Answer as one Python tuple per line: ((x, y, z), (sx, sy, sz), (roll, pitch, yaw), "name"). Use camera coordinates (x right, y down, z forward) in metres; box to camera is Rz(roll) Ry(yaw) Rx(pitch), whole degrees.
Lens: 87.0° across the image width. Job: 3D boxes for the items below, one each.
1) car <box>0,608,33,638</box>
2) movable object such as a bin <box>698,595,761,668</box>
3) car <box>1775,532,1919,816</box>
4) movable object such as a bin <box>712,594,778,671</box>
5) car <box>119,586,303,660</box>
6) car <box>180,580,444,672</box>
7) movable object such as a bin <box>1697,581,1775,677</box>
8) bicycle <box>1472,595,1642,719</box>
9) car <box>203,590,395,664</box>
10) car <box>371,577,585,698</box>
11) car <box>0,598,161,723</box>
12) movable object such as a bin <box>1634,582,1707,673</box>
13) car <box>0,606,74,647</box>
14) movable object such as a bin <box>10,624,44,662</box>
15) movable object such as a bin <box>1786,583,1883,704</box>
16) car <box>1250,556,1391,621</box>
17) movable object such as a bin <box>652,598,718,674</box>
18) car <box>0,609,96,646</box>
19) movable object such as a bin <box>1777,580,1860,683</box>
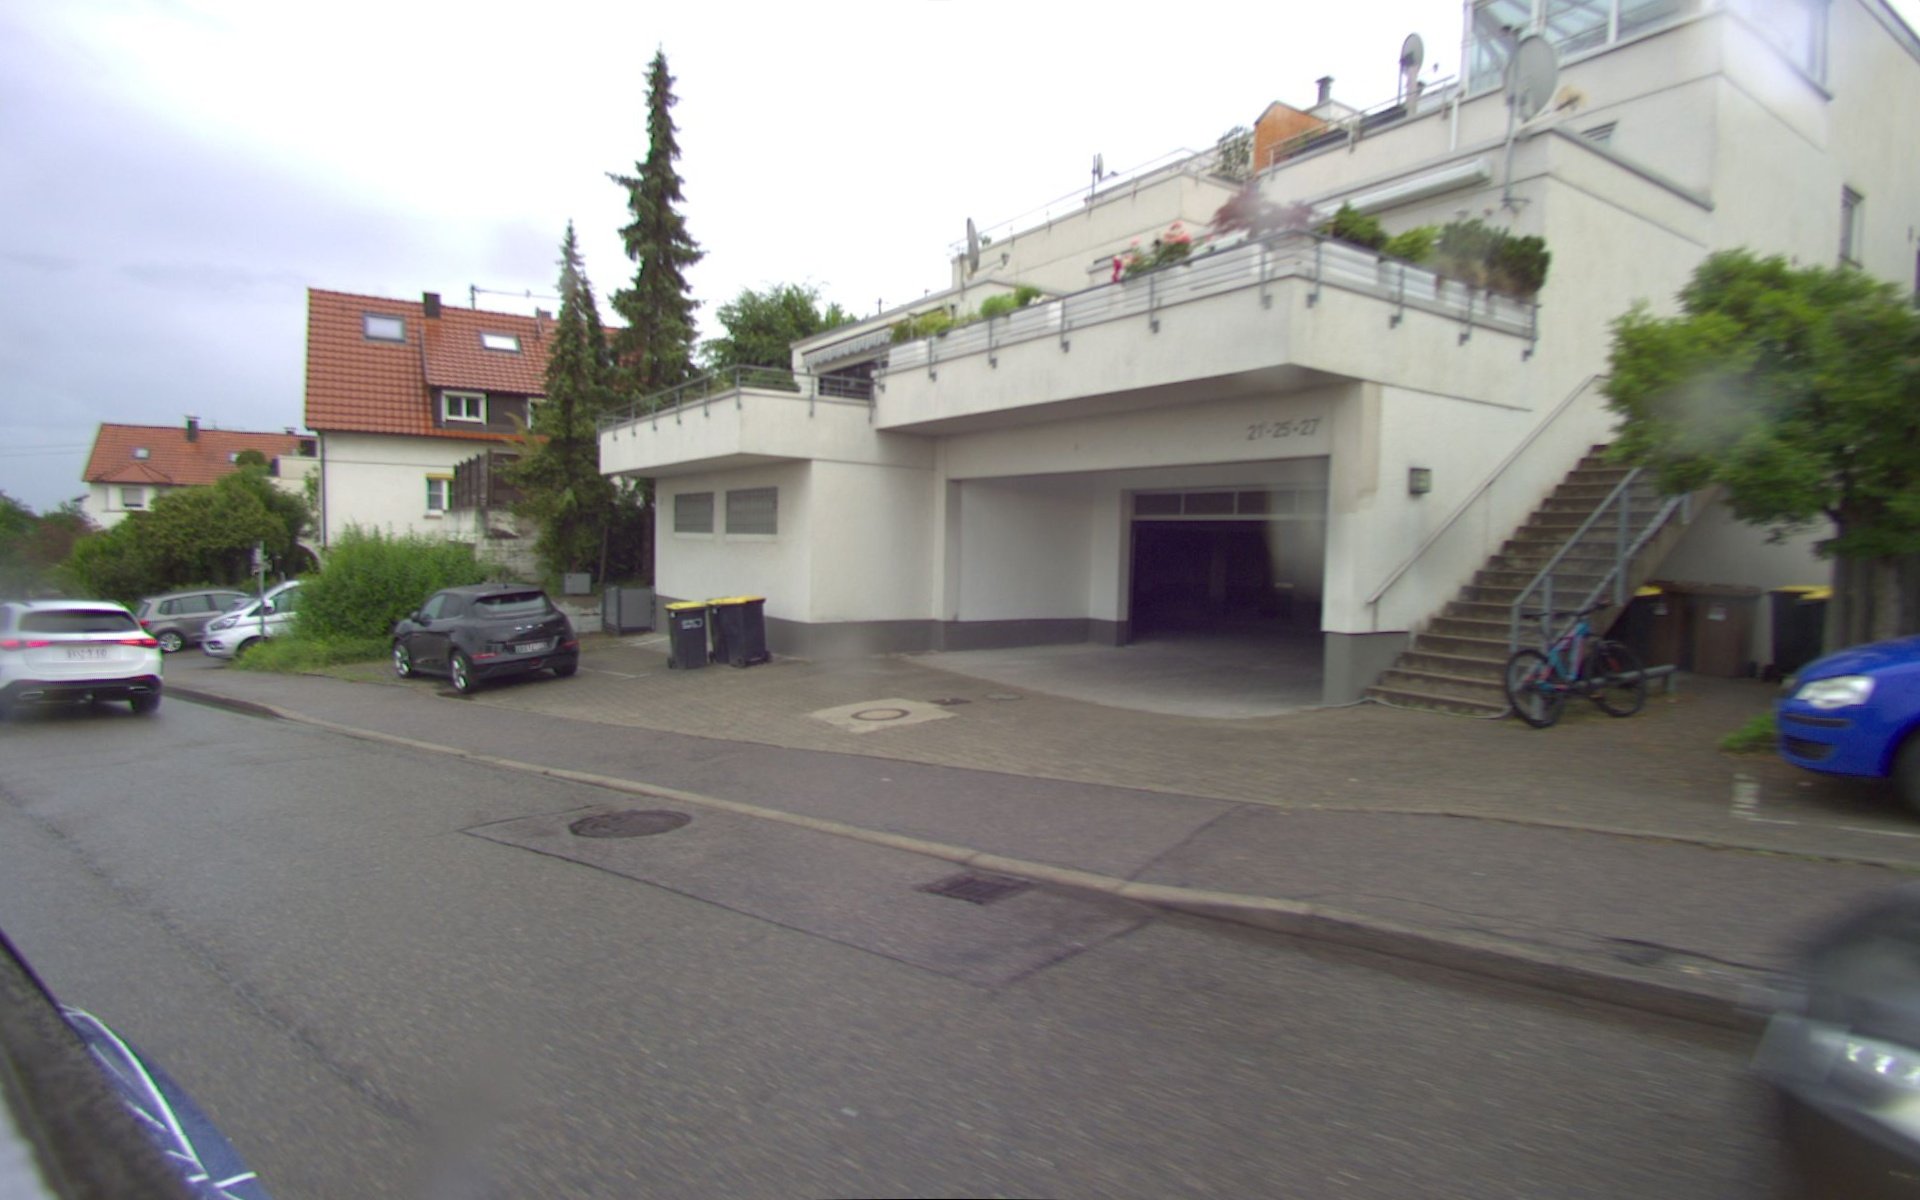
((-48.861, 1.195, 51.972), (1.745, 1.386, 4.252), (-5, 3, -42), "car")
((-3.718, 0.491, 16.322), (0.715, 1.078, 0.769), (-6, 5, -31), "movable object such as a bin")
((6.579, 0.324, 4.987), (3.955, 1.444, 1.592), (-1, 3, 40), "car")
((-3.333, 0.488, 15.644), (0.715, 1.078, 0.769), (-6, 5, -31), "movable object such as a bin")
((-21.295, 0.597, 28.934), (4.002, 1.704, 1.898), (-5, 4, -36), "car")
((-15.038, 0.562, 23.760), (5.015, 1.959, 2.147), (0, 0, -33), "car")
((8.903, 0.316, 11.613), (0.539, 1.049, 0.563), (-3, 2, -36), "movable object such as a bin")
((5.514, 0.494, 9.336), (1.542, 1.014, 0.480), (-3, 2, -21), "bicycle")
((-17.043, 0.622, 26.262), (4.000, 1.650, 1.899), (-2, 2, -33), "car")
((-8.067, 0.557, 16.751), (4.198, 1.599, 1.671), (-1, 6, 44), "car")
((-13.312, 0.797, 14.770), (4.381, 1.579, 1.780), (-1, -1, 41), "car")
((8.575, 0.319, 12.213), (0.539, 1.049, 0.563), (-3, 2, -36), "movable object such as a bin")
((-38.641, 1.069, 42.326), (4.415, 1.609, 1.784), (0, 0, 41), "car")
((-27.564, 1.253, 29.891), (0.697, 1.072, 0.597), (-1, 1, 36), "movable object such as a bin")
((8.059, 0.382, 9.329), (0.539, 1.049, 0.563), (-3, 2, -36), "movable object such as a bin")
((8.941, -0.341, 25.004), (3.452, 1.506, 1.679), (-2, 3, -38), "car")
((-4.352, 0.553, 16.006), (0.715, 1.078, 0.852), (-6, 5, -31), "movable object such as a bin")
((-44.879, 1.353, 49.429), (3.776, 1.489, 1.808), (7, -4, -35), "car")
((9.284, 0.327, 10.952), (0.539, 1.064, 0.563), (-3, 2, -36), "movable object such as a bin")
